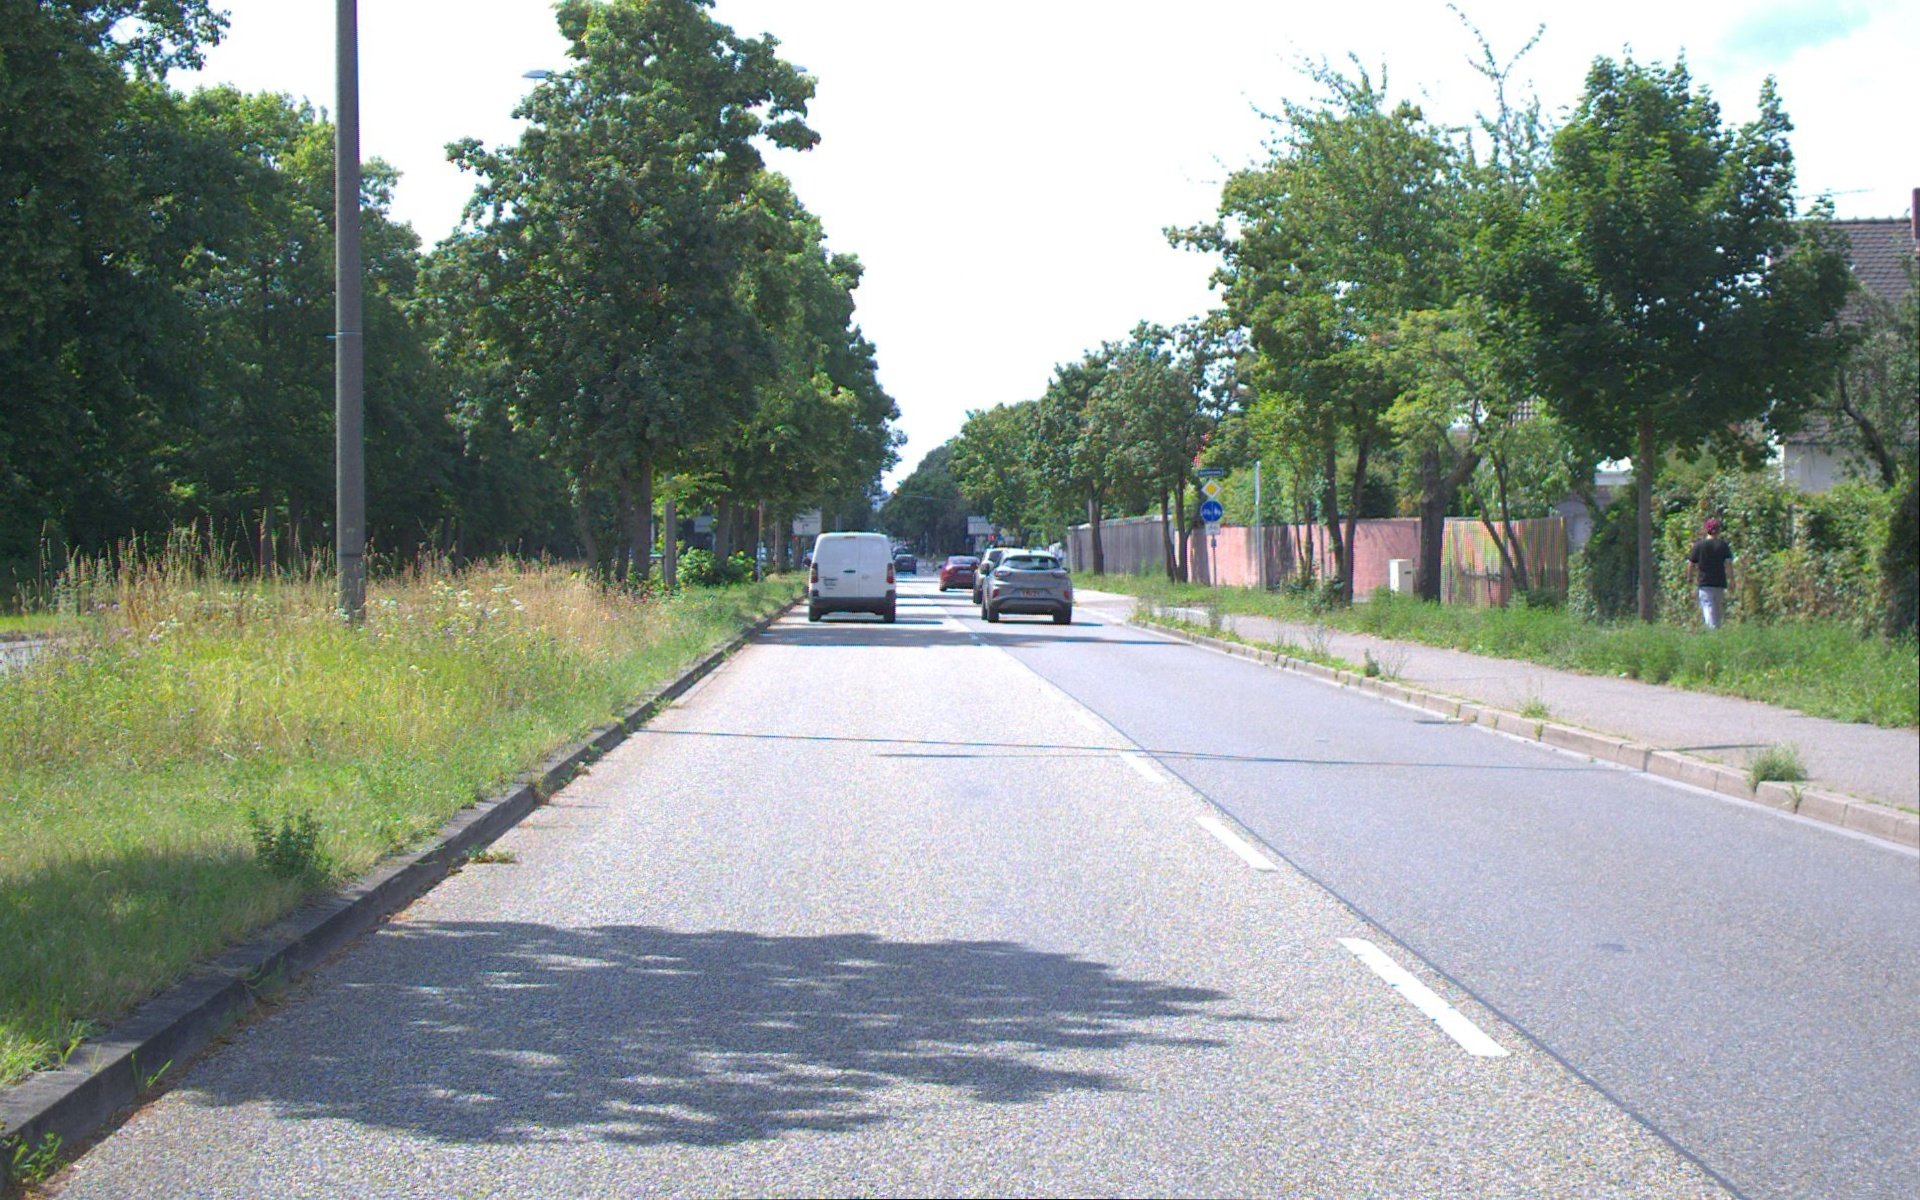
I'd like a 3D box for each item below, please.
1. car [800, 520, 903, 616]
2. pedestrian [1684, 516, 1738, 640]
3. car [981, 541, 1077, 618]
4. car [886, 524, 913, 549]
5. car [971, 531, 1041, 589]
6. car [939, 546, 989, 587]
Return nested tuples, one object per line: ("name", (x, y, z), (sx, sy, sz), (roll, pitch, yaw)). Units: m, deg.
("car", (-2.230, -0.687, 71.500), (2.066, 1.905, 4.647), (0, 1, -1))
("pedestrian", (10.227, -0.307, 46.819), (0.560, 1.671, 0.634), (0, 1, -2))
("car", (1.444, -0.455, 73.188), (1.875, 1.583, 4.185), (0, 1, -1))
("car", (-4.196, -4.377, 238.257), (1.880, 1.708, 4.000), (0, 1, -1))
("car", (1.297, -1.151, 98.763), (1.875, 1.646, 4.000), (0, 1, -1))
("car", (0.146, -1.340, 136.120), (1.880, 1.581, 4.000), (0, 1, -1))
